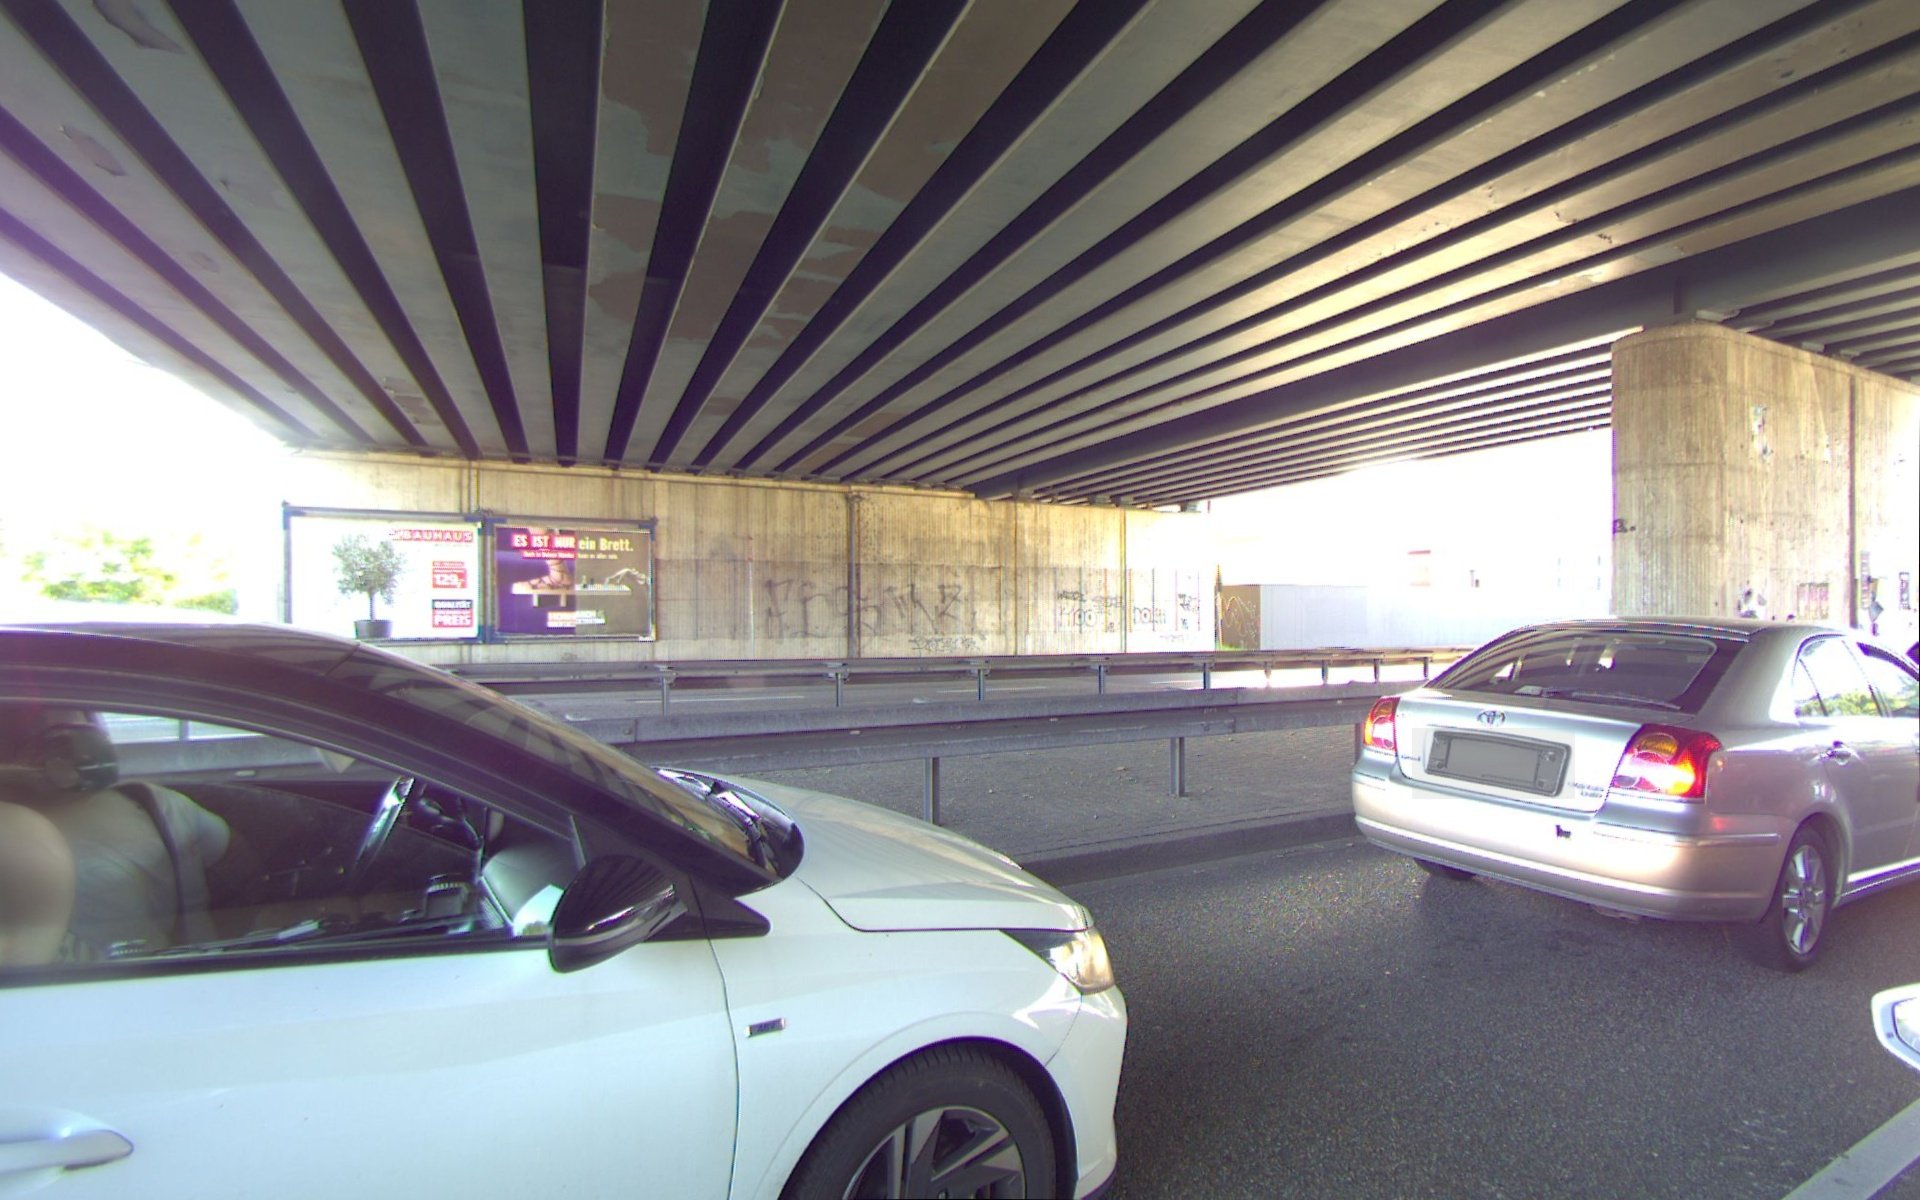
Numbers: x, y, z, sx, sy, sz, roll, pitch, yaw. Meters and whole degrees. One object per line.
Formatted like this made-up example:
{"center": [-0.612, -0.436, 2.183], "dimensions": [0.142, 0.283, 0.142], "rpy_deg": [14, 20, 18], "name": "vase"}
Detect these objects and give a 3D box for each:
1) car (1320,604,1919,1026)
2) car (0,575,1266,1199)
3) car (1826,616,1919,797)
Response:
{"center": [4.073, 0.812, 5.449], "dimensions": [4.270, 1.499, 1.724], "rpy_deg": [1, -1, -32], "name": "car"}
{"center": [-1.436, 0.727, 1.957], "dimensions": [3.946, 1.499, 1.724], "rpy_deg": [1, -1, -32], "name": "car"}
{"center": [9.530, 0.883, 8.854], "dimensions": [3.687, 1.457, 1.804], "rpy_deg": [0, 0, -31], "name": "car"}
